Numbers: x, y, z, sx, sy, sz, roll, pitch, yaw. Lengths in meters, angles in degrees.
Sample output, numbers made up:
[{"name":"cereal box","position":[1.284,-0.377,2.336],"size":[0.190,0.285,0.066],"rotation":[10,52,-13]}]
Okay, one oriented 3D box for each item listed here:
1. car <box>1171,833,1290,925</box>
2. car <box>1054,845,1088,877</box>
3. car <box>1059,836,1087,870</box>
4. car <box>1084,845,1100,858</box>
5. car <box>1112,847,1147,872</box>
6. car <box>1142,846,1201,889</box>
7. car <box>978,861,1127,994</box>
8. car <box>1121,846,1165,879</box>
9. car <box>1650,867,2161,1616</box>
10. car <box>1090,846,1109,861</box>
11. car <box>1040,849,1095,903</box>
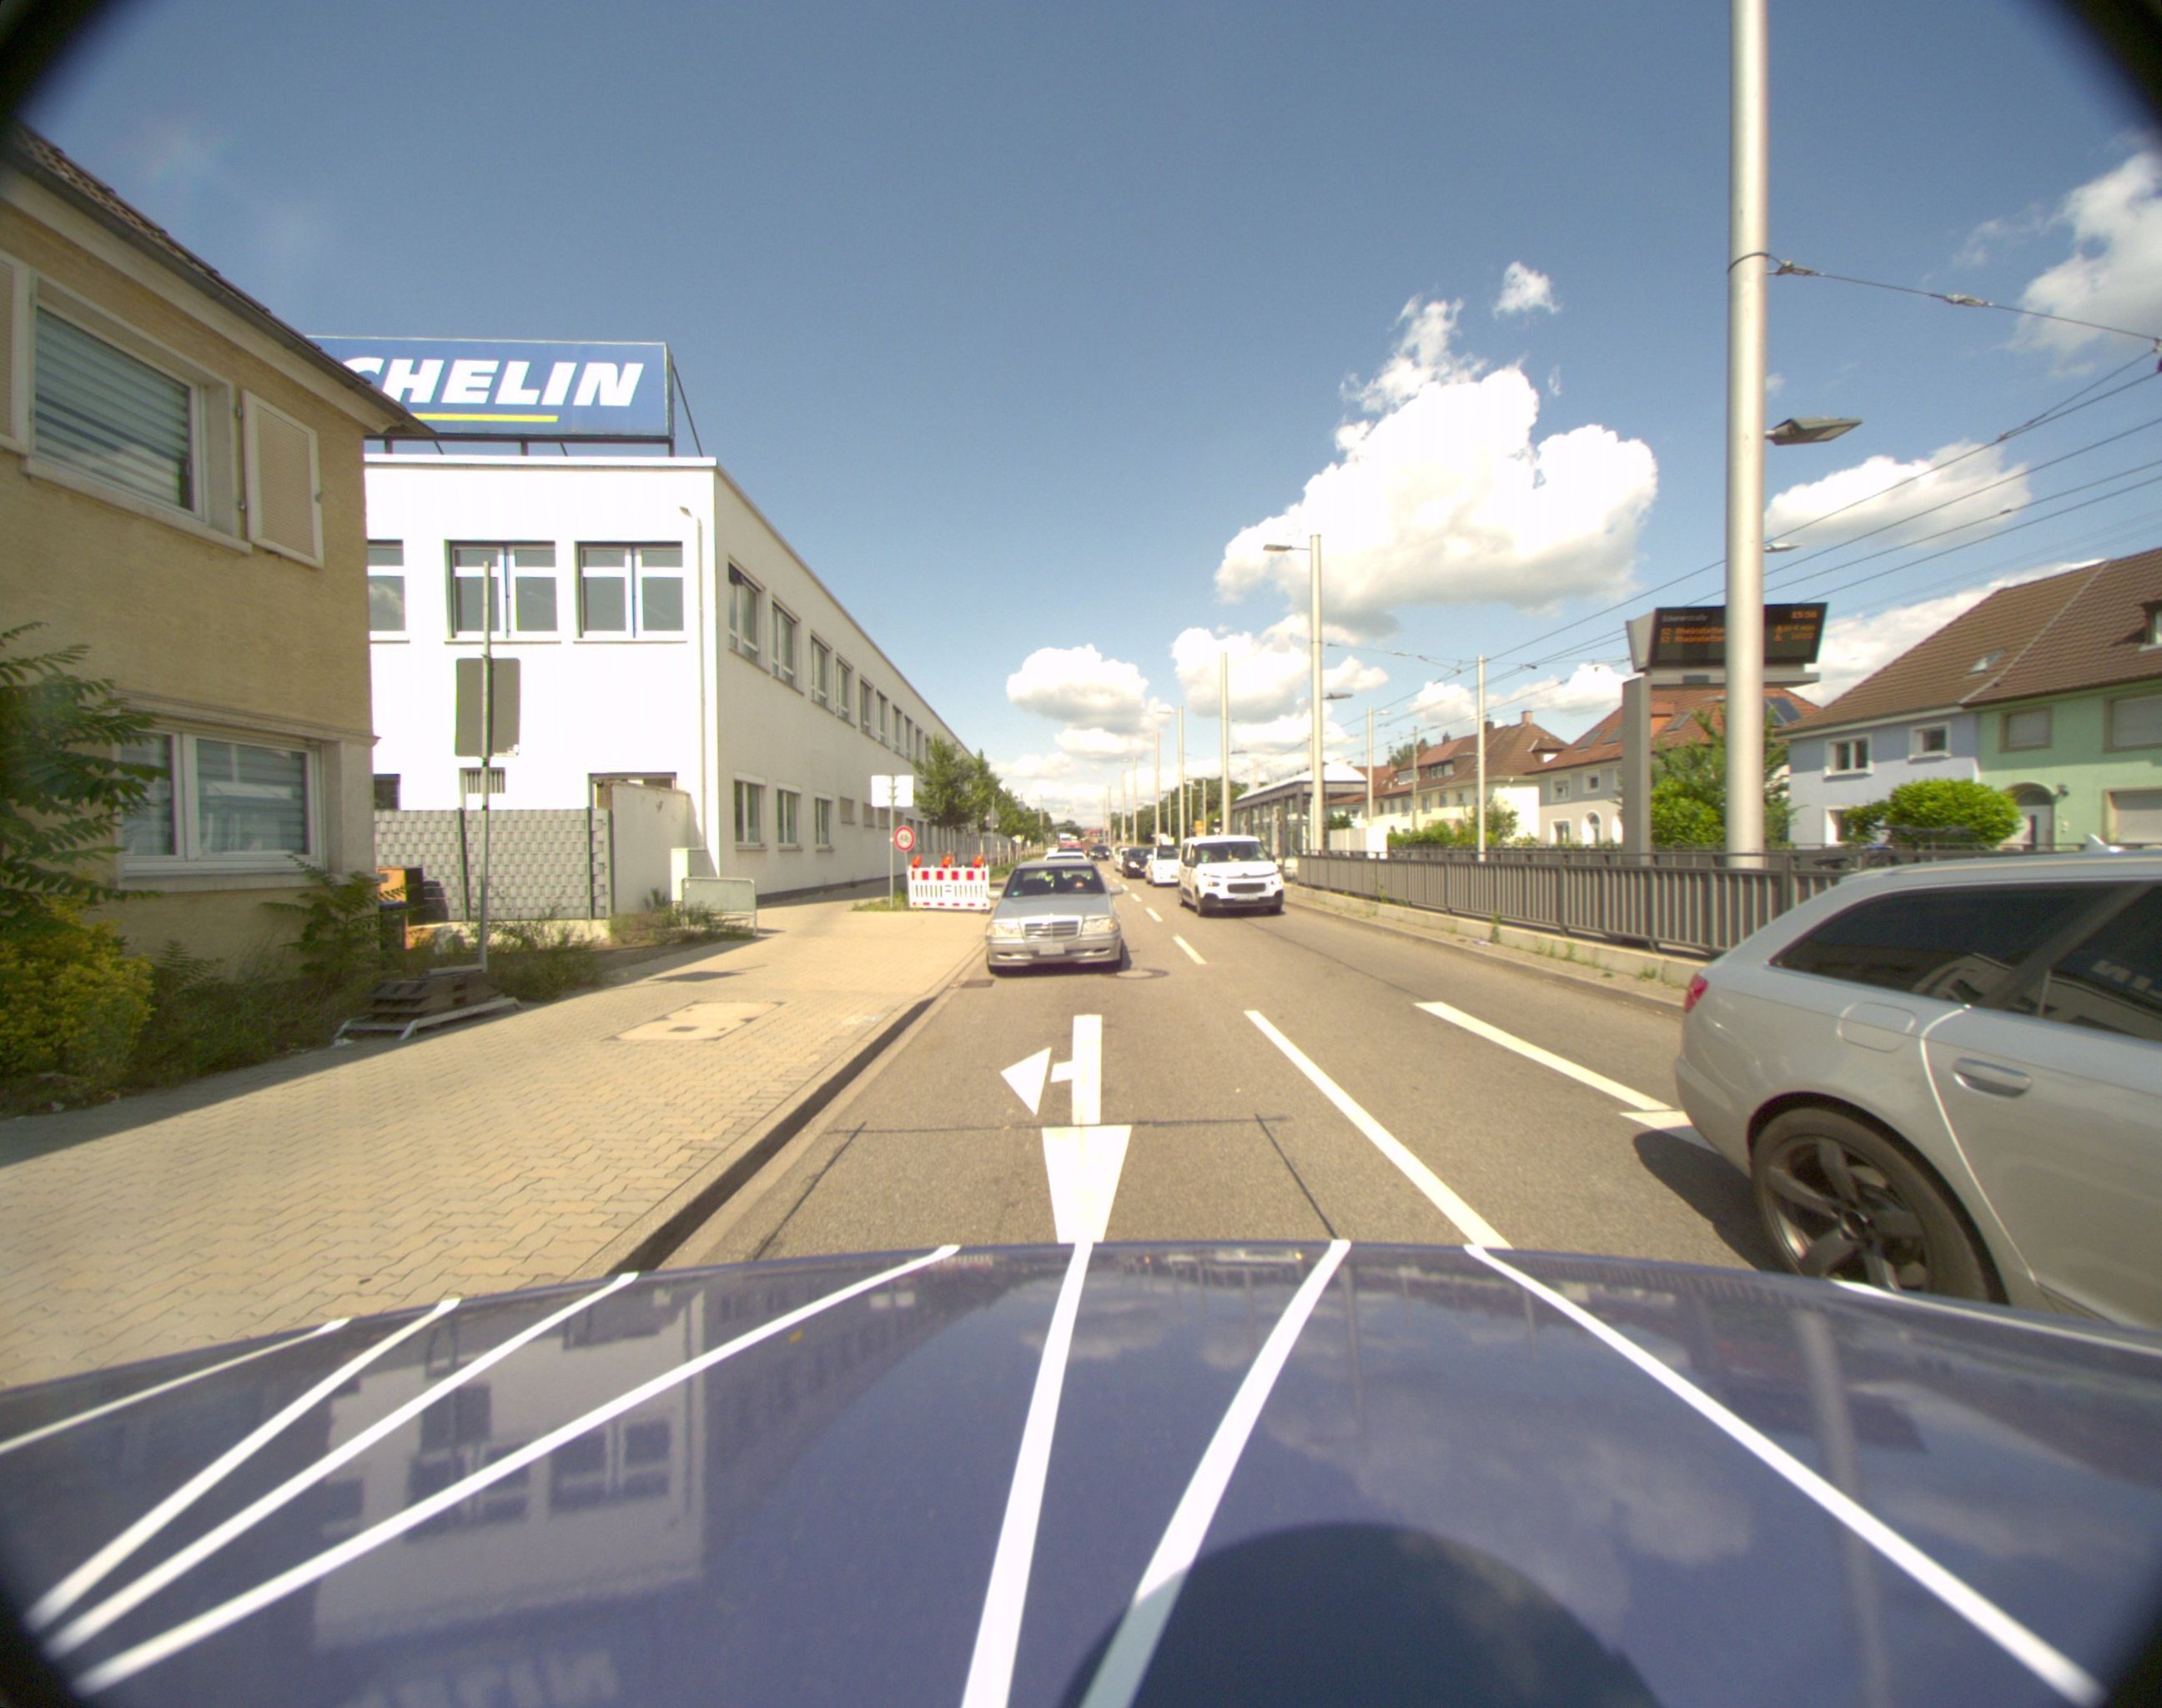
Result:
[{"name":"car","position":[3.321,0.463,17.697],"size":[1.799,1.805,4.328],"rotation":[-2,1,-1]},{"name":"car","position":[-0.529,0.333,40.524],"size":[1.664,1.530,3.998],"rotation":[-2,1,-1]},{"name":"car","position":[-0.568,-0.120,52.921],"size":[1.787,2.135,5.167],"rotation":[-2,1,-1]},{"name":"car","position":[1.284,-0.284,90.002],"size":[1.698,1.350,4.497],"rotation":[-2,1,-1]},{"name":"car","position":[2.948,0.309,46.660],"size":[1.698,1.350,4.497],"rotation":[-2,1,-1]},{"name":"car","position":[3.460,0.460,29.496],"size":[1.680,1.495,3.392],"rotation":[-2,1,-3]},{"name":"car","position":[-0.387,0.899,11.309],"size":[1.725,1.390,4.461],"rotation":[-2,1,-1]},{"name":"car","position":[2.990,0.384,37.240],"size":[1.680,1.414,3.557],"rotation":[-2,1,-3]},{"name":"car","position":[3.100,0.824,0.610],"size":[1.799,1.463,4.722],"rotation":[-3,0,2]},{"name":"car","position":[1.904,-0.045,78.779],"size":[1.698,1.350,4.497],"rotation":[-2,1,-1]},{"name":"car","position":[-0.473,0.659,25.736],"size":[1.664,1.564,3.998],"rotation":[-2,1,-1]}]
